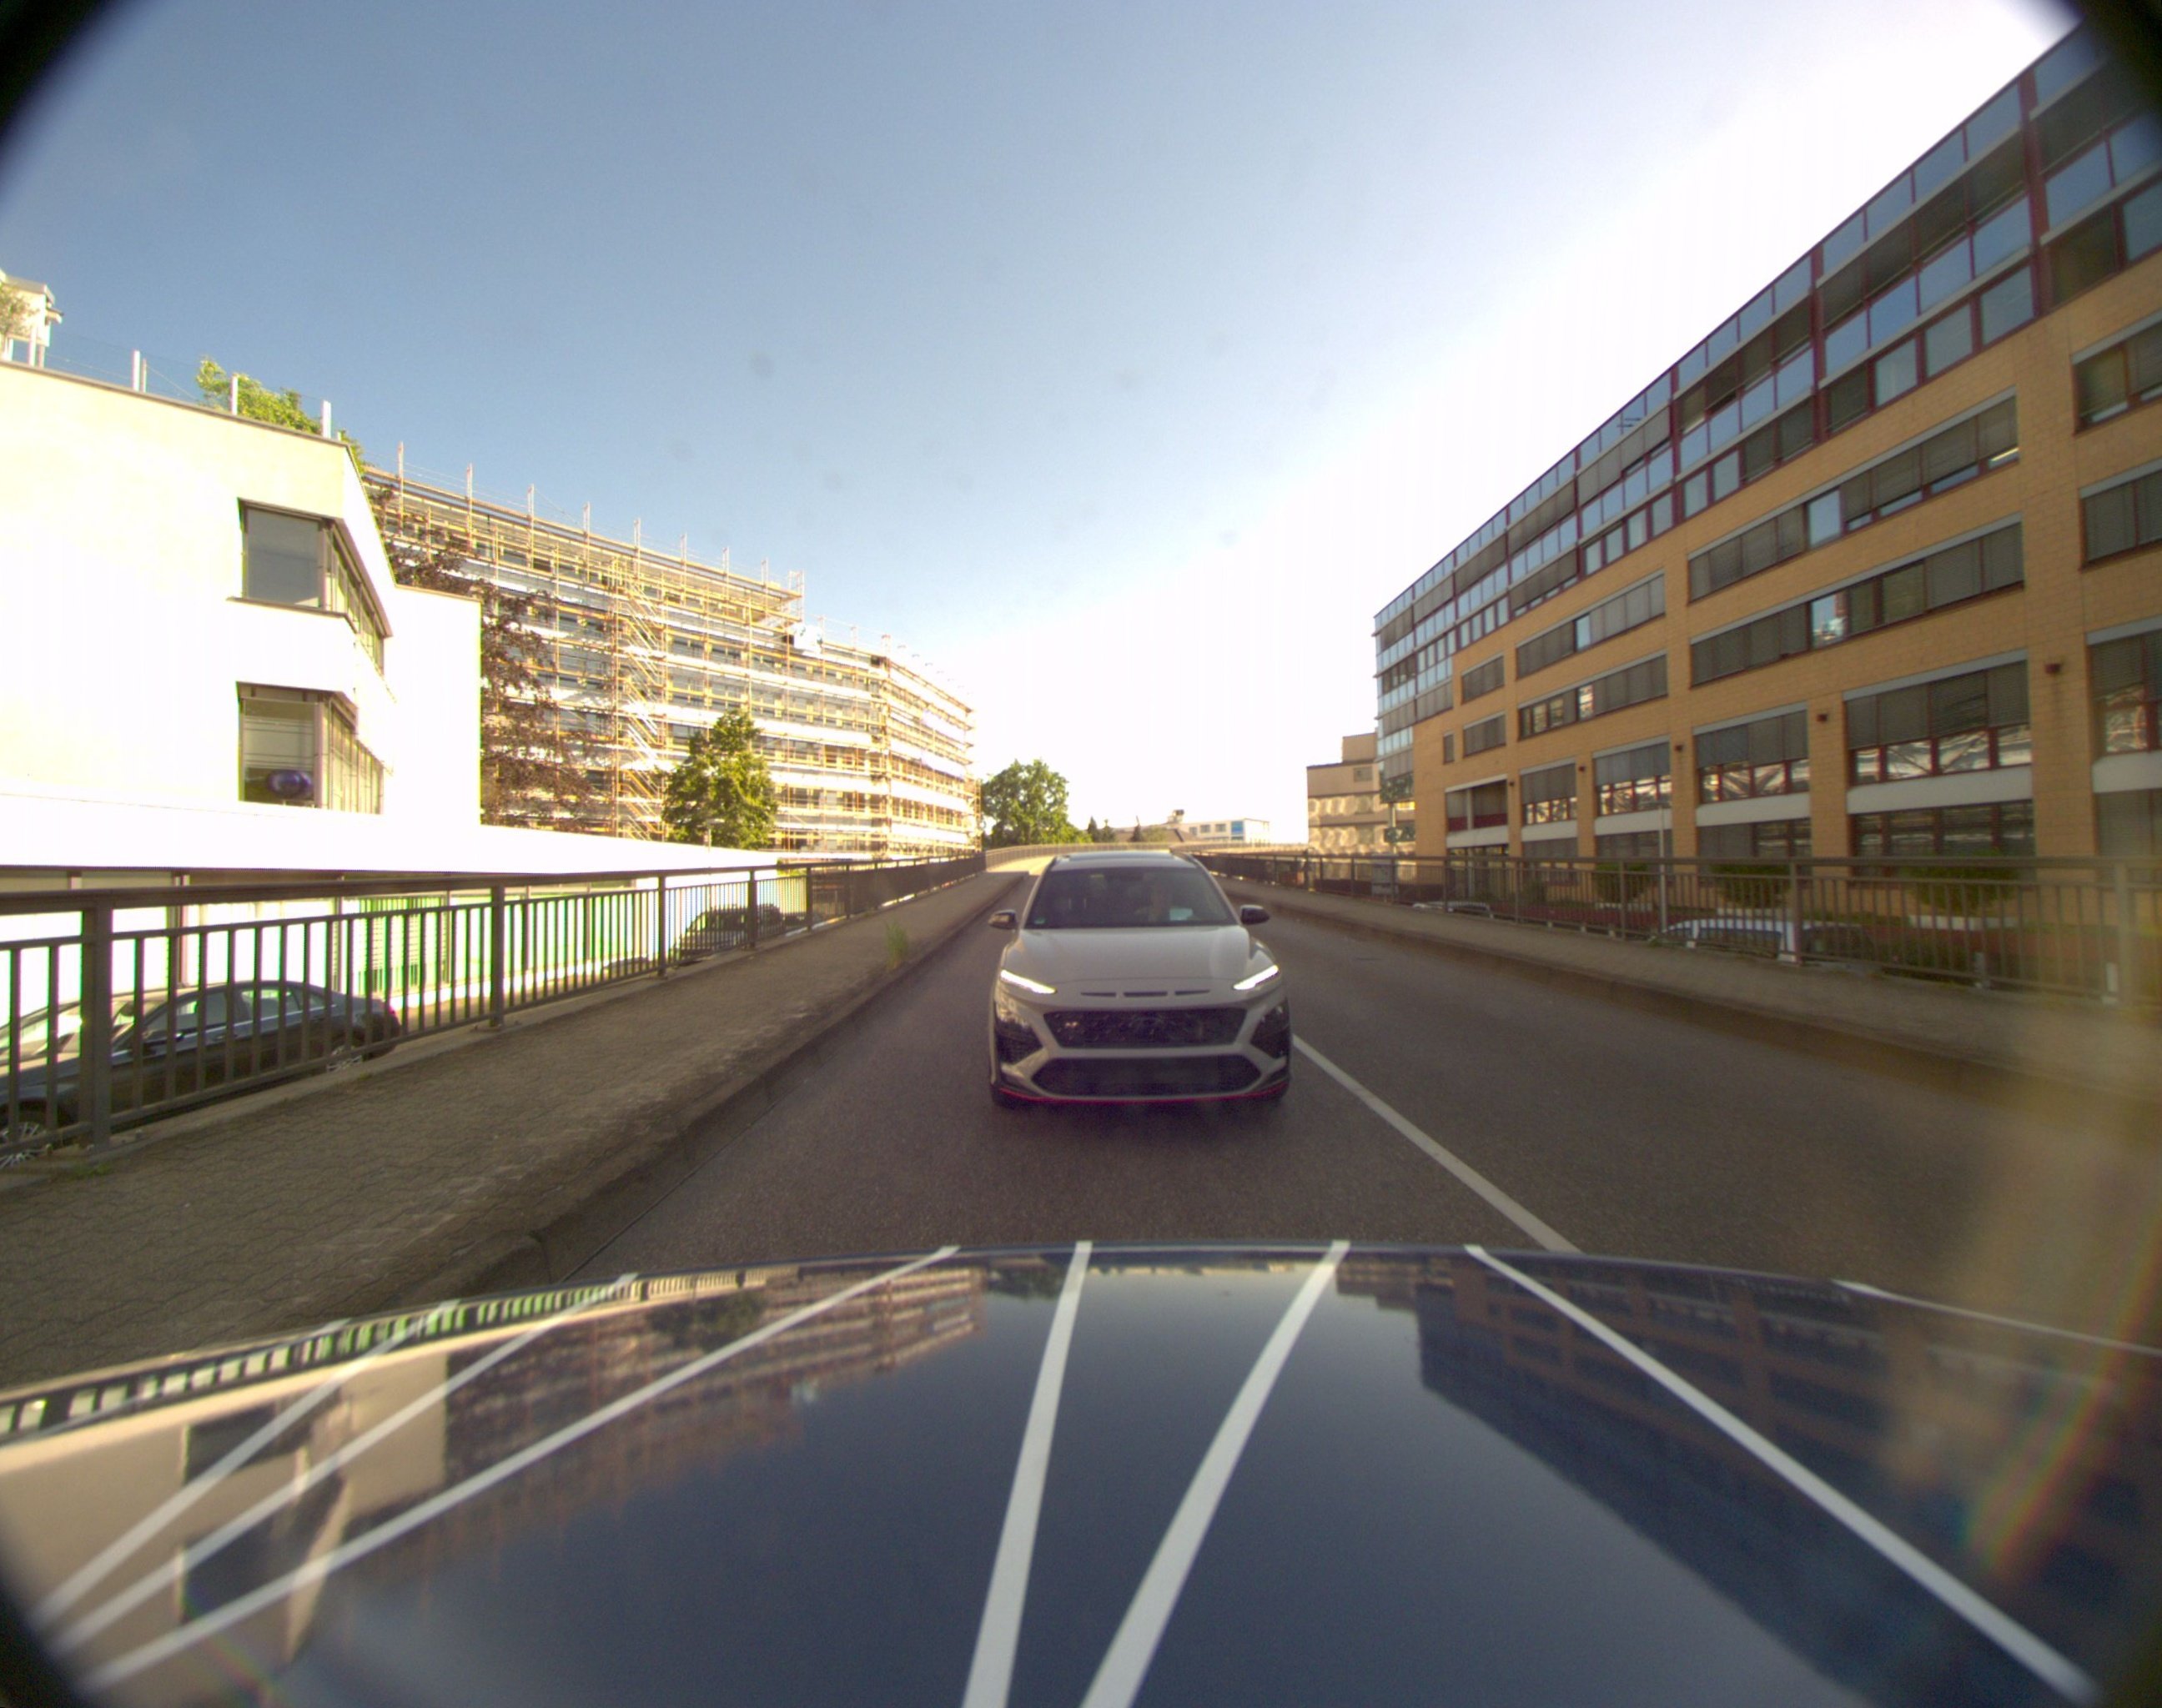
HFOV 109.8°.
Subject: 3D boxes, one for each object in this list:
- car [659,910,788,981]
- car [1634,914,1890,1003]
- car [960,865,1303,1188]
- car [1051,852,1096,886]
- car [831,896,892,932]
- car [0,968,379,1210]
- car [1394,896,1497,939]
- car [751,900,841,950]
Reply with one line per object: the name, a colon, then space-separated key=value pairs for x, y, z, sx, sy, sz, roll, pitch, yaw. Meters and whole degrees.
car: x=-9.911 y=2.474 z=21.417 sx=1.726 sy=1.513 sz=4.000 roll=-2 pitch=-1 yaw=-1
car: x=13.045 y=1.940 z=14.909 sx=1.580 sy=1.261 sz=3.809 roll=0 pitch=-1 yaw=-1
car: x=0.285 y=0.907 z=5.880 sx=1.749 sy=1.637 sz=4.001 roll=0 pitch=-1 yaw=1
car: x=-0.371 y=0.637 z=34.169 sx=1.902 sy=1.433 sz=4.126 roll=0 pitch=0 yaw=-1
car: x=-10.214 y=2.777 z=35.665 sx=1.726 sy=1.383 sz=4.000 roll=-2 pitch=-1 yaw=-1
car: x=-9.601 y=2.168 z=7.406 sx=1.726 sy=1.513 sz=4.001 roll=-2 pitch=-1 yaw=1
car: x=12.739 y=2.197 z=26.816 sx=1.766 sy=1.261 sz=3.809 roll=0 pitch=-1 yaw=-1
car: x=-10.092 y=2.481 z=27.205 sx=1.726 sy=1.383 sz=4.000 roll=-2 pitch=-1 yaw=-1
